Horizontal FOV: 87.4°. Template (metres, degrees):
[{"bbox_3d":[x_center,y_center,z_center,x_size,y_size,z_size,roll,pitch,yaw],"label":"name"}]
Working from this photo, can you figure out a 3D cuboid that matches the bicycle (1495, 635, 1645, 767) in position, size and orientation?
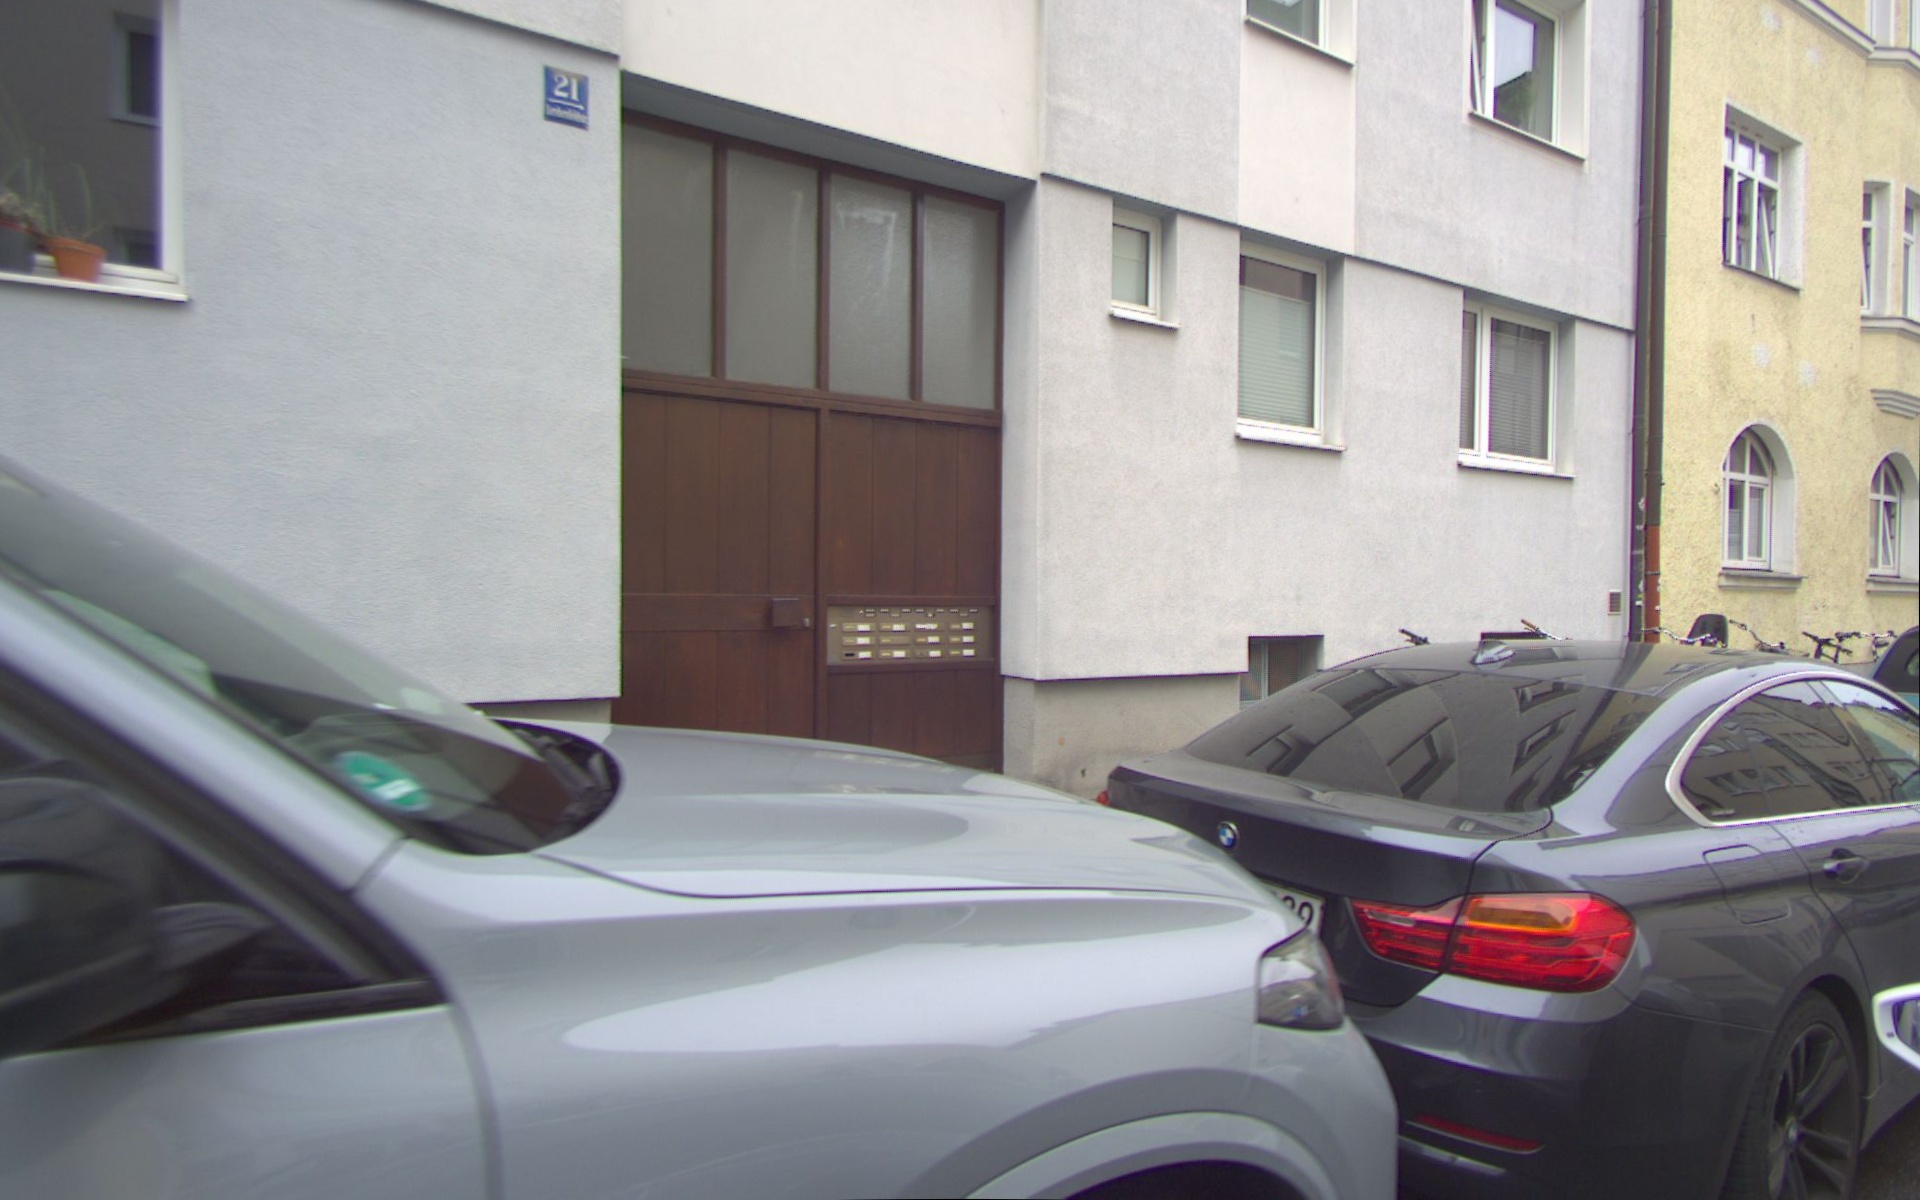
[{"bbox_3d":[5.295,0.838,8.689,1.552,1.044,0.393,1,1,-30],"label":"bicycle"}]

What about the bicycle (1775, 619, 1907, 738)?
[{"bbox_3d":[9.964,0.855,11.350,1.716,1.250,0.590,1,1,-31],"label":"bicycle"}]

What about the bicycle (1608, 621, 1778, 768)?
[{"bbox_3d":[6.894,0.845,9.429,1.716,1.250,0.633,1,1,-30],"label":"bicycle"}]

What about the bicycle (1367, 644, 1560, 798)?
[{"bbox_3d":[3.870,0.880,7.691,1.552,1.044,0.542,1,1,-30],"label":"bicycle"}]

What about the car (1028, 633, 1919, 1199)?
[{"bbox_3d":[2.477,0.863,3.597,4.202,1.405,1.802,0,-1,-31],"label":"car"}]

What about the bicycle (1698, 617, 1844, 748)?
[{"bbox_3d":[8.432,0.822,10.425,1.716,1.250,0.590,1,1,-31],"label":"bicycle"}]

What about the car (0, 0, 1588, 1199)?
[{"bbox_3d":[-1.452,0.534,1.141,4.683,1.793,1.852,0,-1,-33],"label":"car"}]

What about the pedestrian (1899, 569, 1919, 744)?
[{"bbox_3d":[10.408,0.589,10.286,1.055,1.788,0.835,1,1,-30],"label":"pedestrian"}]

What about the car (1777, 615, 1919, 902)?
[{"bbox_3d":[6.524,0.846,5.863,3.361,1.480,1.557,1,0,-28],"label":"car"}]

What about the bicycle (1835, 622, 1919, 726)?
[{"bbox_3d":[11.387,0.884,12.352,1.614,1.206,0.437,1,1,-31],"label":"bicycle"}]
